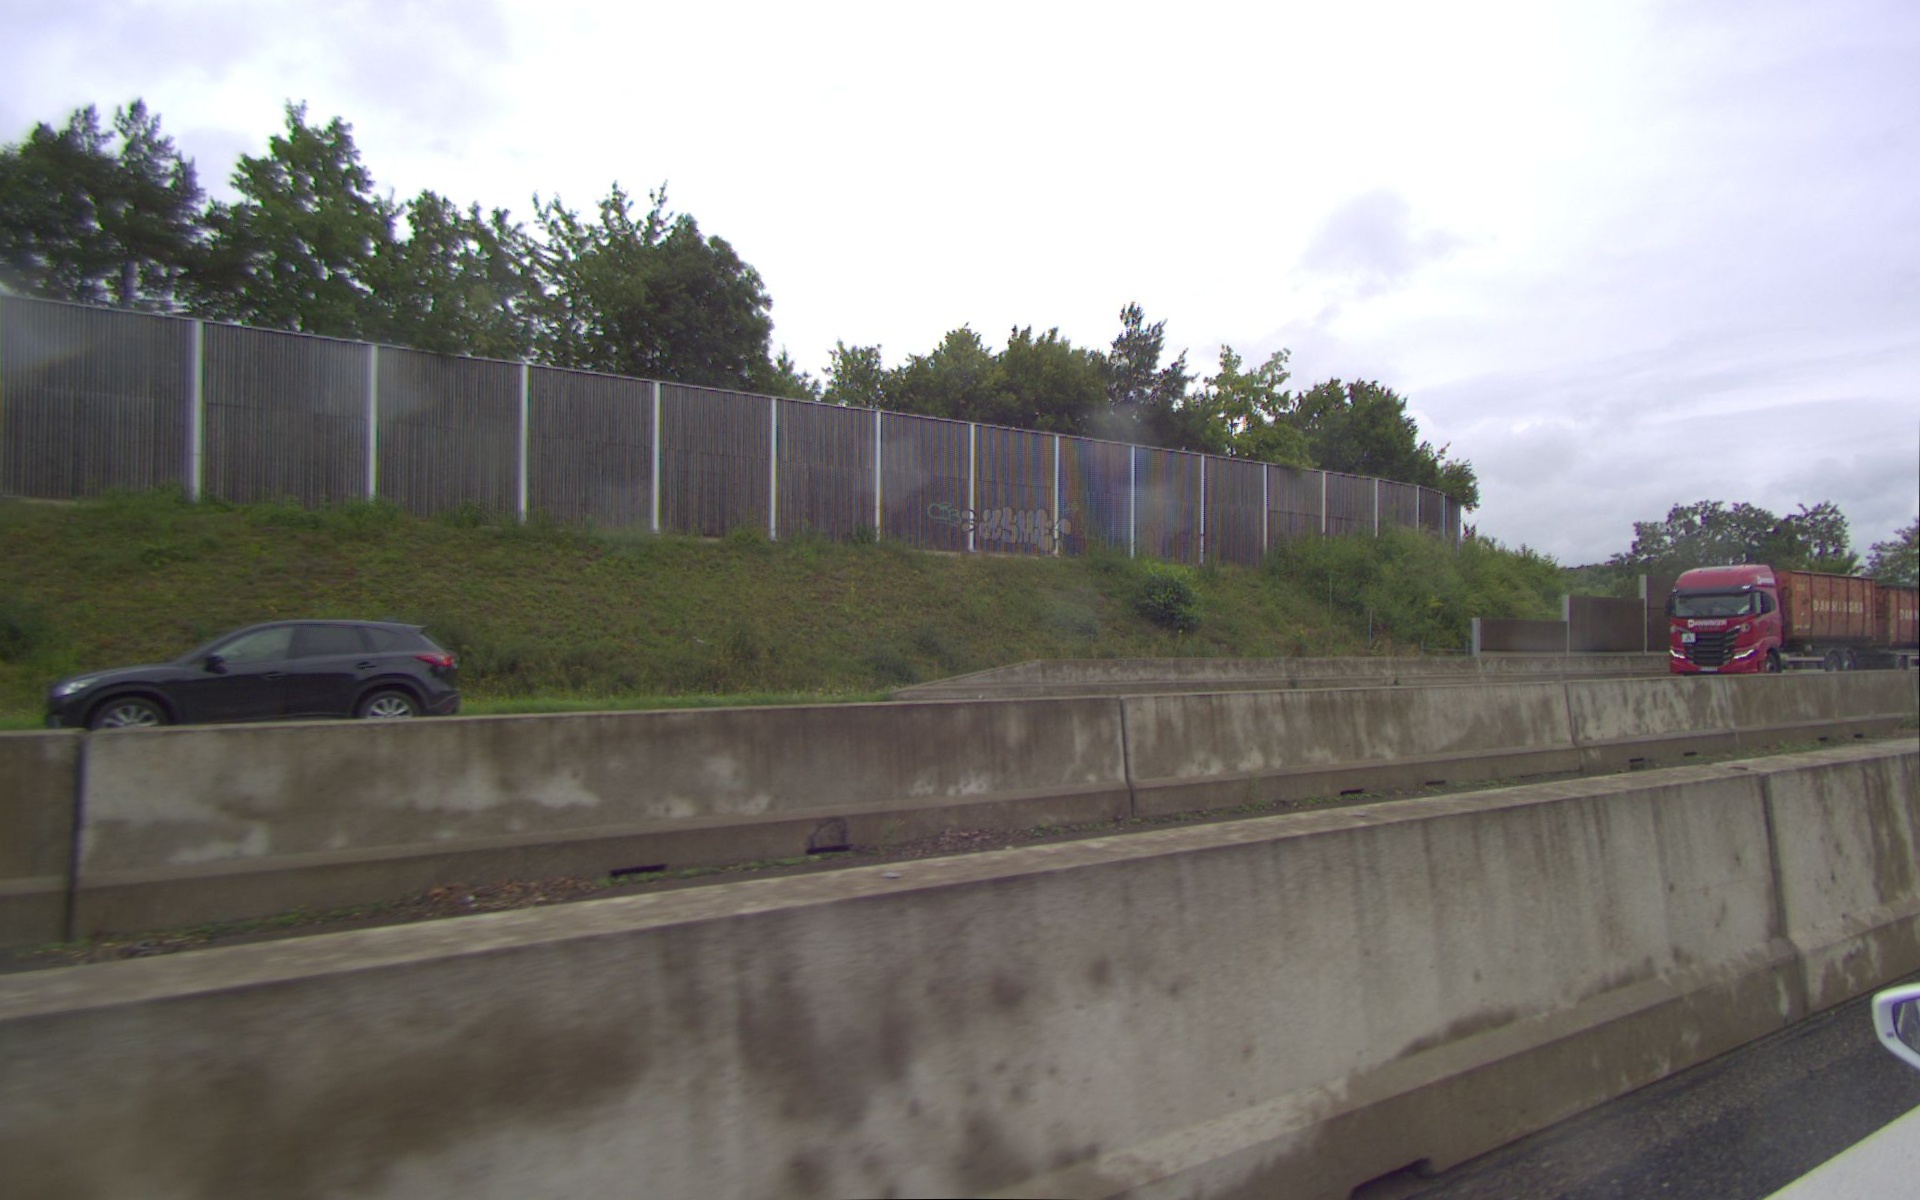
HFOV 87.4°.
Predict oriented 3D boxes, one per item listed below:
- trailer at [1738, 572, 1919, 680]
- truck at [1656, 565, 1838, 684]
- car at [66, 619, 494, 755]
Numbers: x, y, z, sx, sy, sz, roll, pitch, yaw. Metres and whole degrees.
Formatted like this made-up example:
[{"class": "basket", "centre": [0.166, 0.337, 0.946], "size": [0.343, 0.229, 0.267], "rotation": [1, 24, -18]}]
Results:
[{"class": "trailer", "centre": [34.731, 1.050, 39.028], "size": [12.414, 3.732, 2.714], "rotation": [1, -1, -30]}, {"class": "truck", "centre": [27.130, 0.834, 34.576], "size": [6.405, 3.756, 2.683], "rotation": [2, 0, -30]}, {"class": "car", "centre": [-8.775, 1.115, 13.474], "size": [4.429, 1.557, 1.985], "rotation": [1, -5, -30]}]
